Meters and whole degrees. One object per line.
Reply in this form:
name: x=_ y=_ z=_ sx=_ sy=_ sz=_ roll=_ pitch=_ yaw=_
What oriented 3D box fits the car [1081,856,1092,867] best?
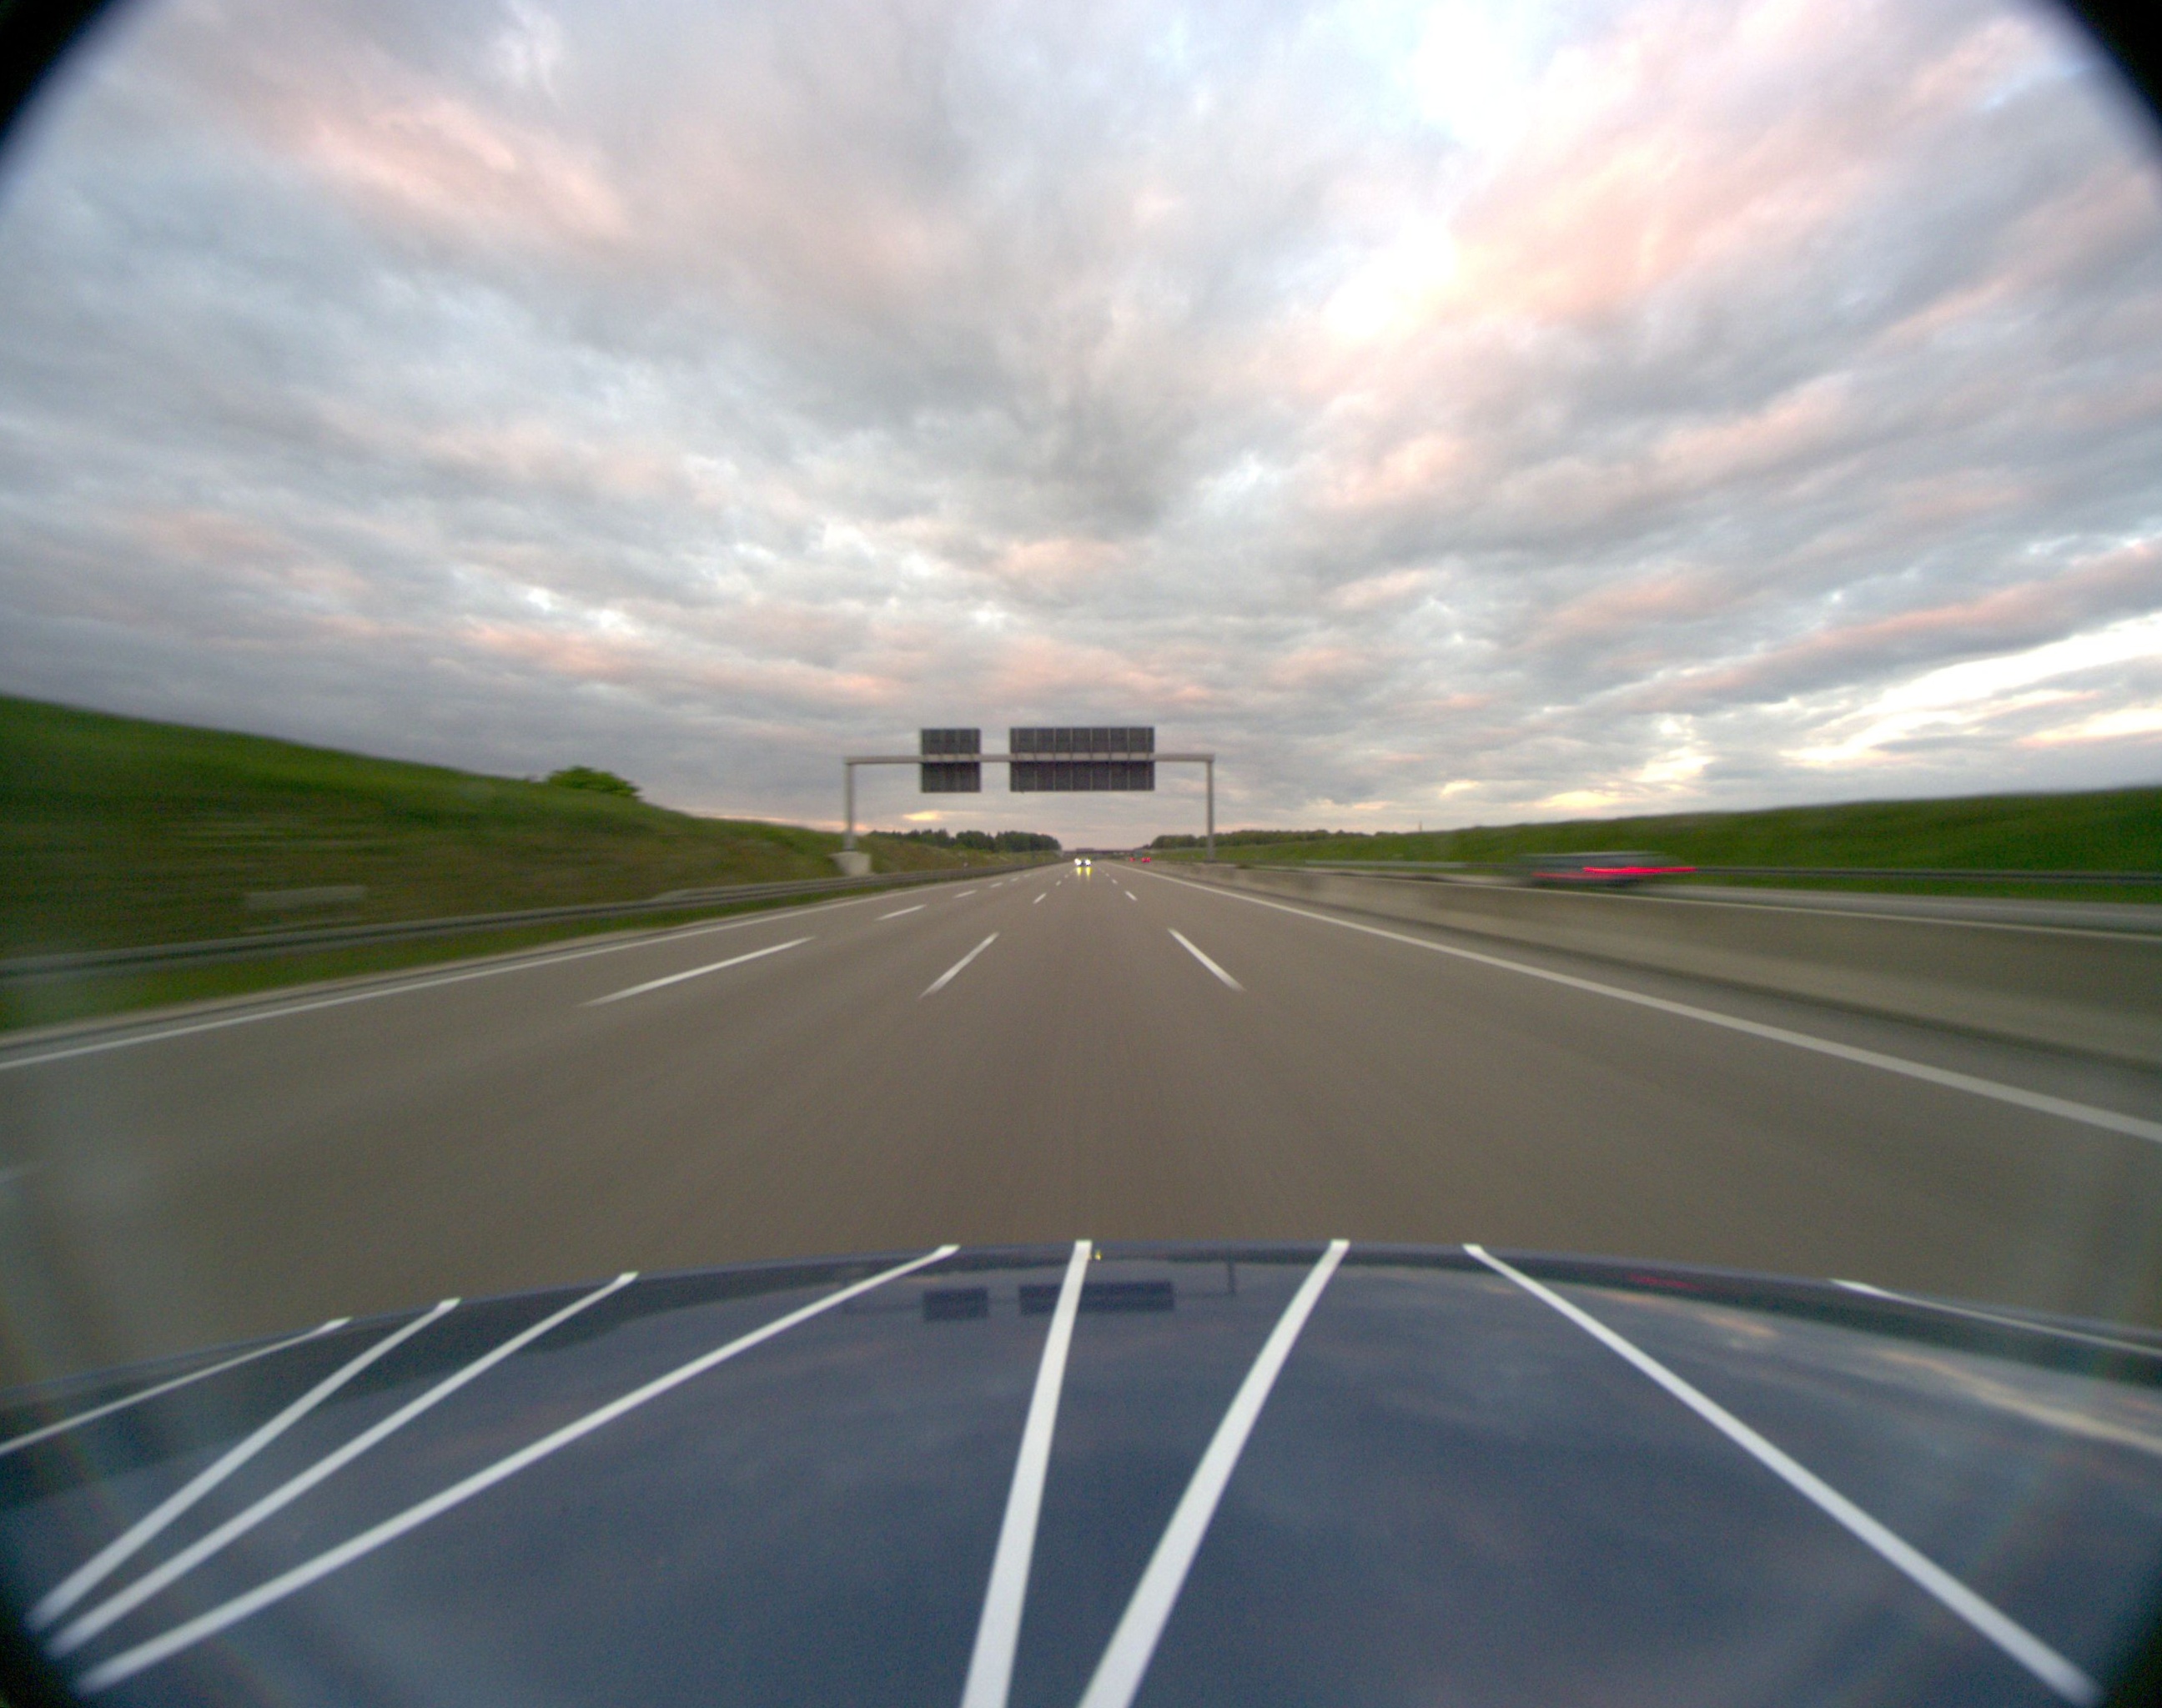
car: x=0.886 y=1.239 z=128.691 sx=1.801 sy=1.674 sz=4.385 roll=-1 pitch=0 yaw=1

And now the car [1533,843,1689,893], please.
car: x=19.007 y=0.439 z=27.620 sx=1.999 sy=1.593 sz=5.199 roll=-2 pitch=0 yaw=0

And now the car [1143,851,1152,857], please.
car: x=17.688 y=0.079 z=202.826 sx=2.008 sy=1.578 sz=4.572 roll=-1 pitch=0 yaw=-1

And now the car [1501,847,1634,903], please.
car: x=15.372 y=0.604 z=24.289 sx=1.824 sy=1.619 sz=4.000 roll=-1 pitch=0 yaw=3
